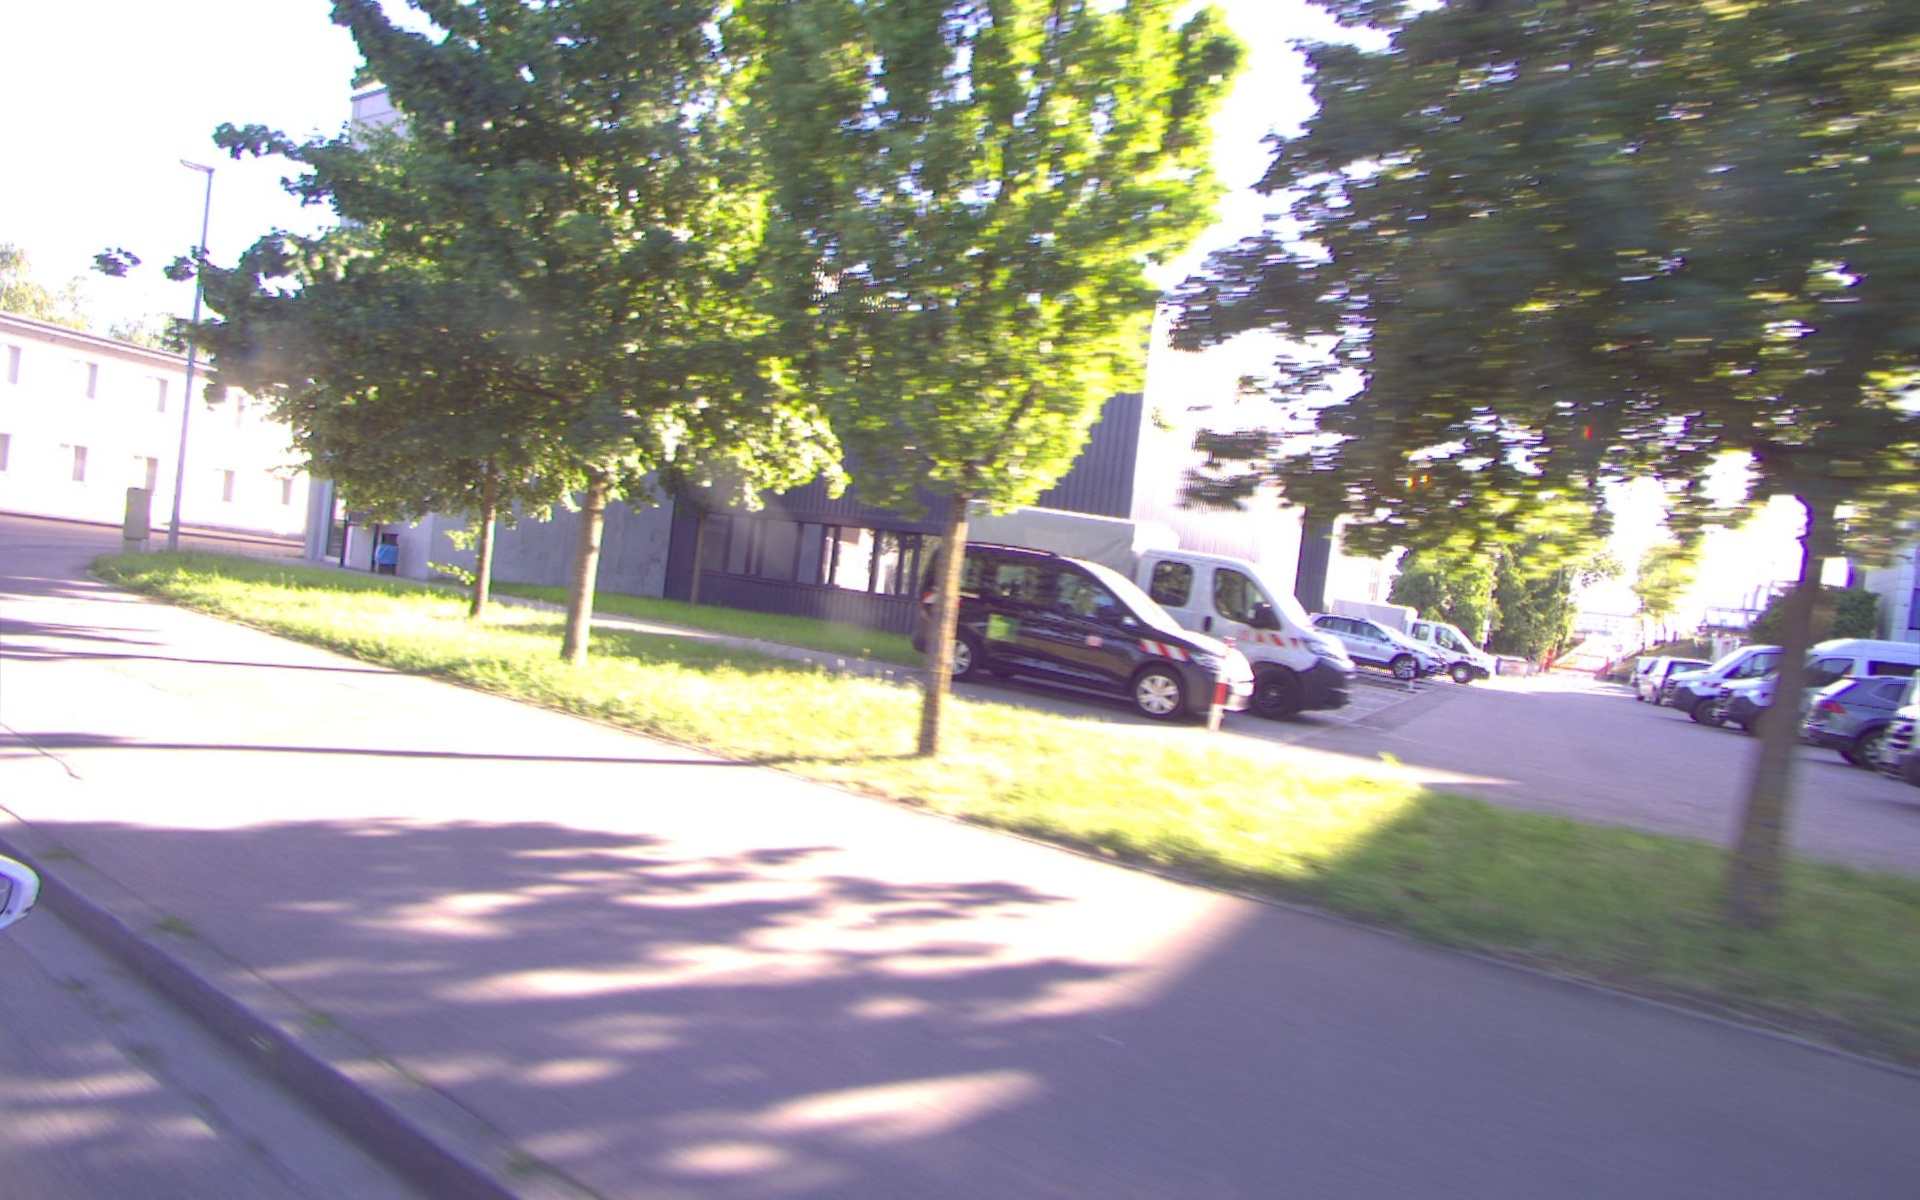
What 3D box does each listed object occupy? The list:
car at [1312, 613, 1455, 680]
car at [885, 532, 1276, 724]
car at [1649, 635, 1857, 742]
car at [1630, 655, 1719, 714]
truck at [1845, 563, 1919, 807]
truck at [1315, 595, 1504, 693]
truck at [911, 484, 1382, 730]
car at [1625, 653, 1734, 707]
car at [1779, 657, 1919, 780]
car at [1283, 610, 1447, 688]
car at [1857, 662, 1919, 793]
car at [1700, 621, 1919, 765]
[{"bbox_3d":[15.039,1.606,35.780,4.336,1.835,1.836,7,2,29],"label":"car"},{"bbox_3d":[1.548,0.334,13.225,4.584,1.835,1.841,7,-2,27],"label":"car"},{"bbox_3d":[20.888,2.319,26.750,3.934,2.214,1.904,7,-2,32],"label":"car"},{"bbox_3d":[26.671,3.179,37.679,1.757,1.843,4.002,7,-2,24],"label":"car"},{"bbox_3d":[13.763,1.331,10.468,6.295,2.708,2.286,6,-2,32],"label":"truck"},{"bbox_3d":[17.804,1.733,39.968,6.423,2.981,2.438,7,-2,29],"label":"truck"},{"bbox_3d":[2.843,0.029,15.920,6.631,2.870,2.366,8,-1,27],"label":"truck"},{"bbox_3d":[34.474,3.832,48.344,3.934,1.983,1.997,6,-2,32],"label":"car"},{"bbox_3d":[17.171,2.190,17.399,4.206,1.867,1.836,7,2,29],"label":"car"},{"bbox_3d":[12.494,1.460,31.087,4.336,1.835,1.836,7,2,29],"label":"car"},{"bbox_3d":[16.406,2.147,14.863,4.206,1.898,1.836,7,2,29],"label":"car"},{"bbox_3d":[21.111,2.214,23.376,5.842,2.785,1.836,7,2,29],"label":"car"}]
